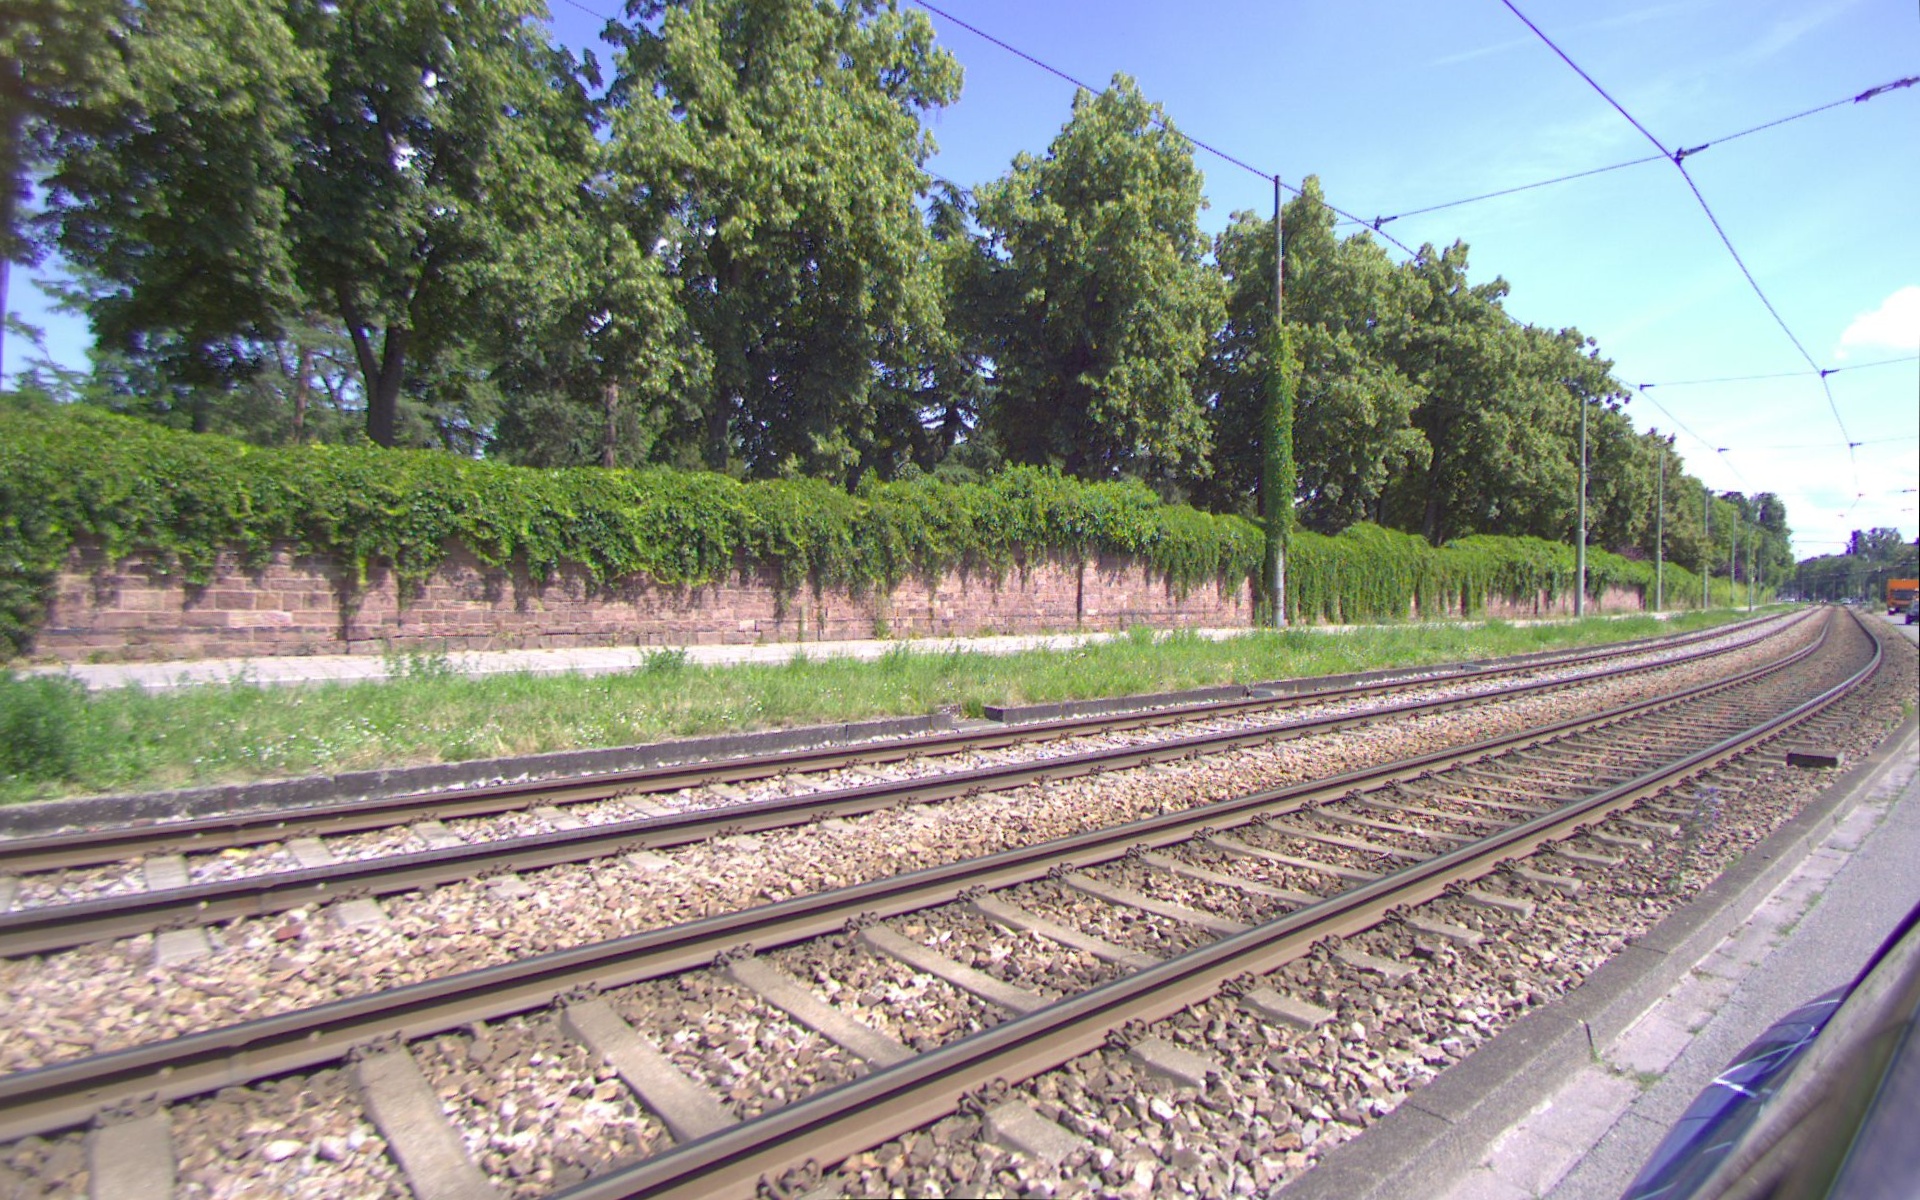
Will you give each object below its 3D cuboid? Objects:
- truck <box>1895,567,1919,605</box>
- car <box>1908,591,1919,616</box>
[{"bbox_3d":[94.829,-1.419,100.521,2.838,3.640,8.570,1,1,43],"label":"truck"},{"bbox_3d":[57.546,0.237,59.853,1.994,1.370,3.939,5,4,42],"label":"car"}]
